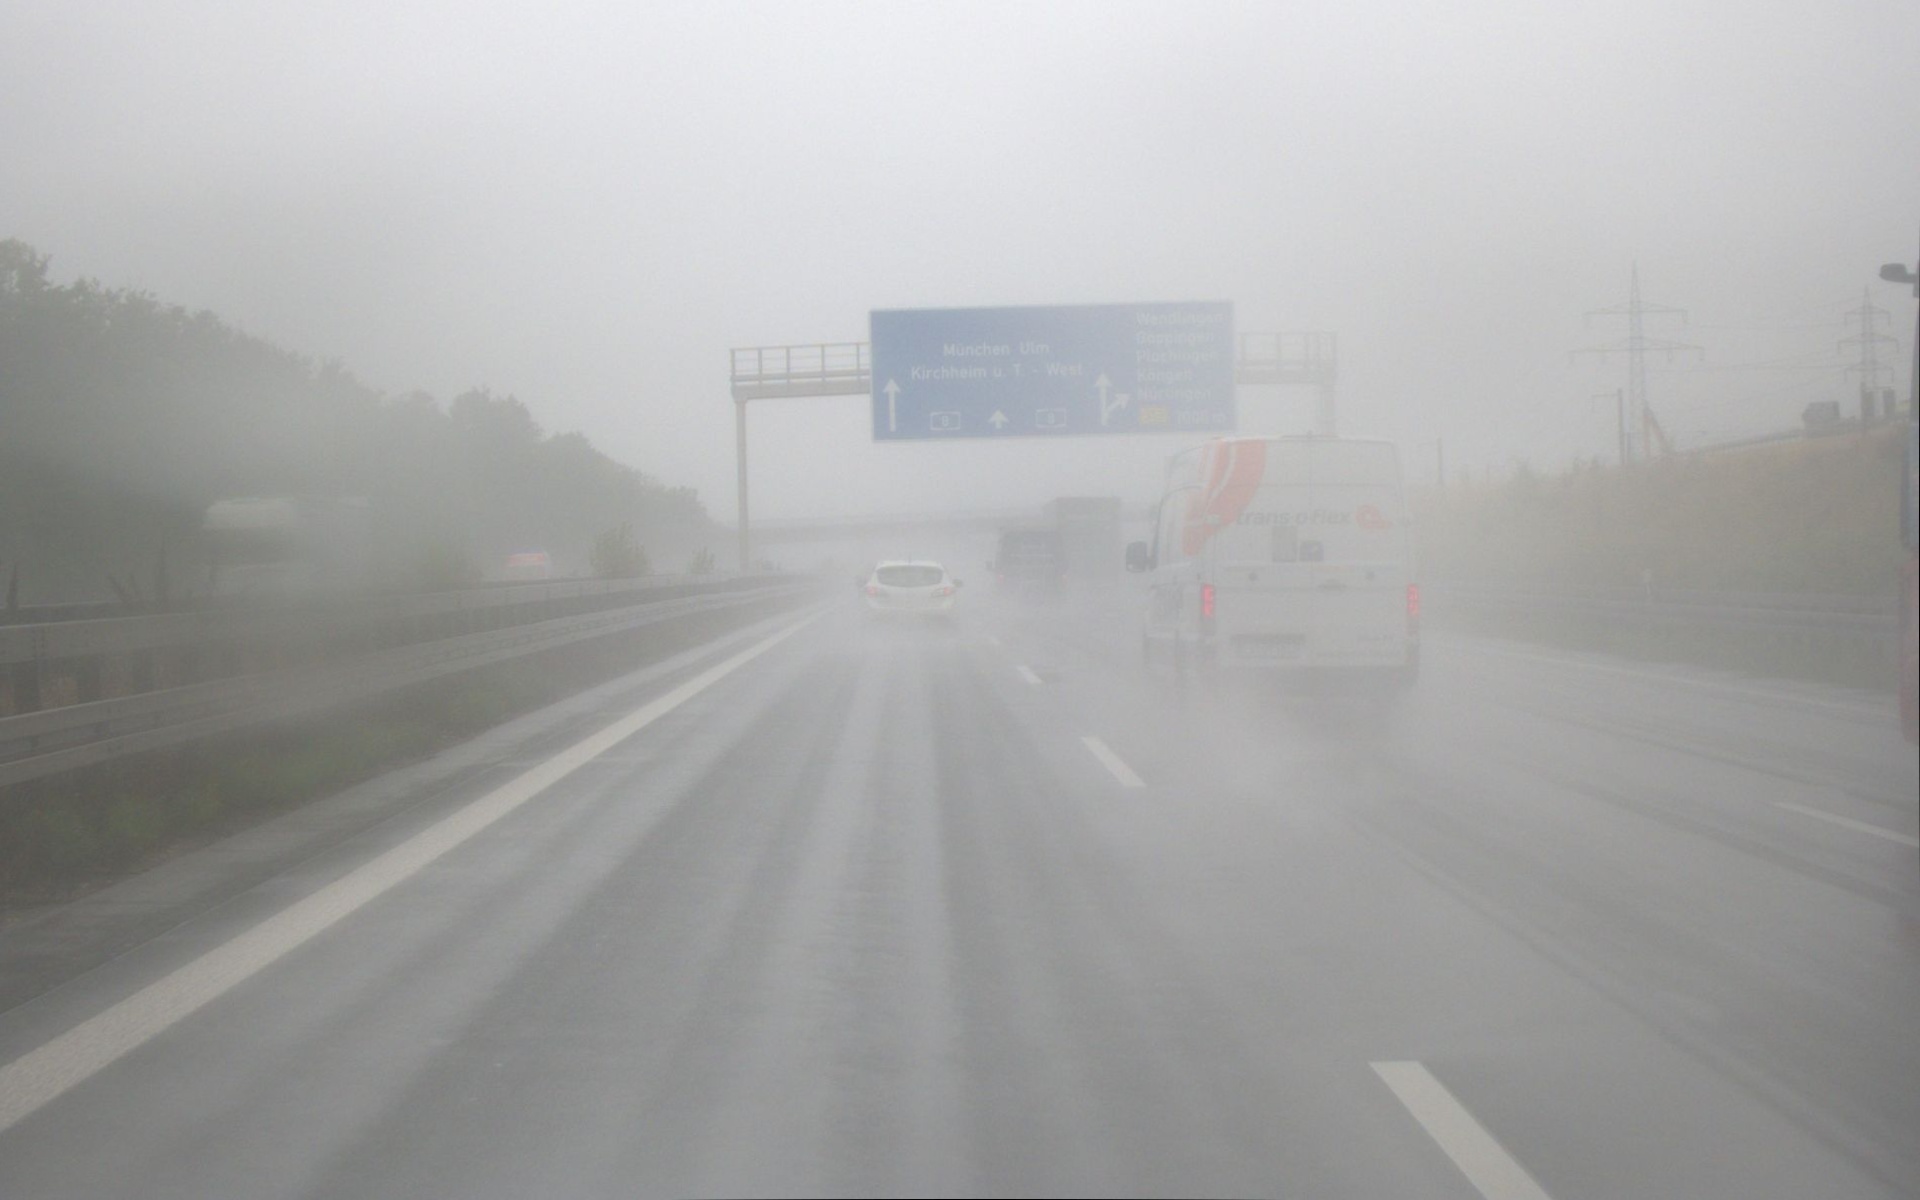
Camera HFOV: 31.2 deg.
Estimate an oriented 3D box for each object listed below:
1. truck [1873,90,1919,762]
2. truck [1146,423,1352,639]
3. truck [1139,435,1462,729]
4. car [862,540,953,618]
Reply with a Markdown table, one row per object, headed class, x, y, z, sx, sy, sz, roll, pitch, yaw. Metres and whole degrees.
| class | x | y | z | sx | sy | sz | roll | pitch | yaw |
| --- | --- | --- | --- | --- | --- | --- | --- | --- | --- |
| truck | 6.956 | -0.980 | 18.660 | 2.496 | 3.970 | 5.076 | 0 | 1 | -1 |
| truck | 6.593 | -1.559 | 81.328 | 3.039 | 4.572 | 16.352 | 0 | 1 | -2 |
| truck | 3.037 | -0.227 | 31.997 | 2.419 | 2.484 | 5.560 | 0 | 1 | 0 |
| car | -0.961 | -0.402 | 62.855 | 1.605 | 1.333 | 3.849 | 0 | 2 | -1 |
